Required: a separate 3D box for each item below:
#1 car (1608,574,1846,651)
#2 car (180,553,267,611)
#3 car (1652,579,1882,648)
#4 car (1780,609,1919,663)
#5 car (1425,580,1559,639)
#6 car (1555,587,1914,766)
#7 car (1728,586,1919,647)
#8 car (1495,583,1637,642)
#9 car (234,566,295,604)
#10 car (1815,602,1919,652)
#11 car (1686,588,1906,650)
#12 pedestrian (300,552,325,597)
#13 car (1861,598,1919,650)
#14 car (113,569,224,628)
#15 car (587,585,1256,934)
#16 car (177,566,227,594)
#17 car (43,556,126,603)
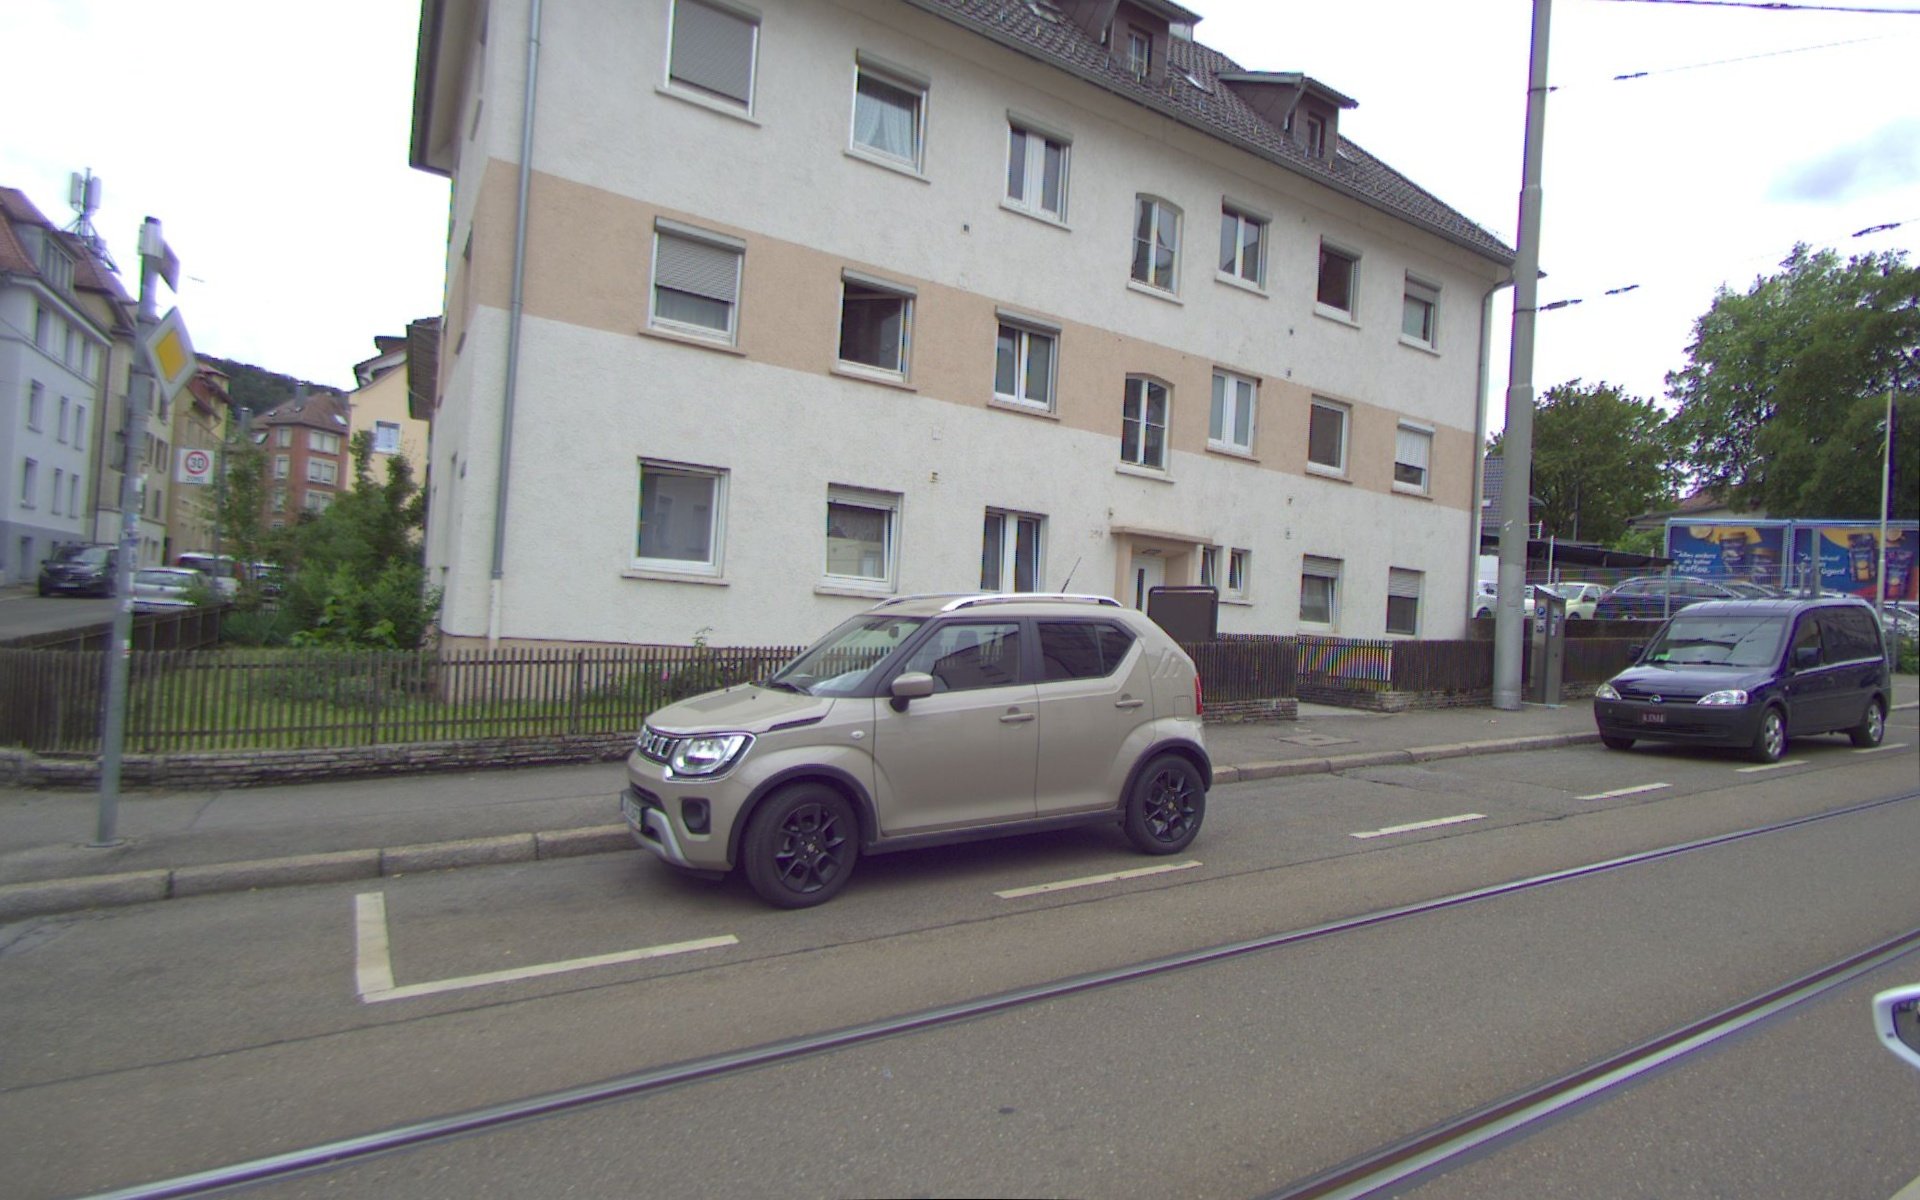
[{"bbox_3d":[17.716,0.234,23.397,1.669,1.573,4.039,1,2,-31],"label":"car"},{"bbox_3d":[-23.929,-0.590,32.767,1.757,1.698,3.859,4,-1,-30],"label":"car"},{"bbox_3d":[19.621,0.291,24.610,1.719,1.544,4.039,1,0,-31],"label":"car"},{"bbox_3d":[25.768,0.976,28.238,1.669,1.375,3.856,1,0,-31],"label":"car"},{"bbox_3d":[15.542,0.270,29.333,3.843,1.635,1.674,1,0,-30],"label":"car"},{"bbox_3d":[9.126,0.803,11.761,4.465,1.758,1.736,1,-2,-30],"label":"car"},{"bbox_3d":[23.493,0.406,27.119,1.669,1.514,4.039,1,0,-31],"label":"car"},{"bbox_3d":[16.594,0.340,27.476,3.843,1.514,1.674,1,0,-30],"label":"car"},{"bbox_3d":[-29.713,-0.655,42.994,1.757,1.483,3.660,4,-1,-30],"label":"car"},{"bbox_3d":[27.927,0.795,29.572,1.669,1.375,3.856,1,0,-31],"label":"car"},{"bbox_3d":[21.414,0.432,25.890,1.669,1.464,4.039,1,0,-31],"label":"car"},{"bbox_3d":[-30.282,-1.173,46.986,0.872,2.040,1.155,1,0,-29],"label":"pedestrian"},{"bbox_3d":[30.186,0.748,30.631,1.677,1.572,3.920,0,1,-45],"label":"car"},{"bbox_3d":[-20.761,-0.063,26.479,1.688,1.370,3.660,4,-1,-30],"label":"car"},{"bbox_3d":[-0.170,0.737,6.228,3.803,1.577,1.689,1,0,-30],"label":"car"},{"bbox_3d":[-40.739,-1.070,54.058,1.603,1.410,3.636,1,1,-29],"label":"car"},{"bbox_3d":[-31.483,-0.749,36.205,1.604,1.580,3.633,1,1,-31],"label":"car"}]
